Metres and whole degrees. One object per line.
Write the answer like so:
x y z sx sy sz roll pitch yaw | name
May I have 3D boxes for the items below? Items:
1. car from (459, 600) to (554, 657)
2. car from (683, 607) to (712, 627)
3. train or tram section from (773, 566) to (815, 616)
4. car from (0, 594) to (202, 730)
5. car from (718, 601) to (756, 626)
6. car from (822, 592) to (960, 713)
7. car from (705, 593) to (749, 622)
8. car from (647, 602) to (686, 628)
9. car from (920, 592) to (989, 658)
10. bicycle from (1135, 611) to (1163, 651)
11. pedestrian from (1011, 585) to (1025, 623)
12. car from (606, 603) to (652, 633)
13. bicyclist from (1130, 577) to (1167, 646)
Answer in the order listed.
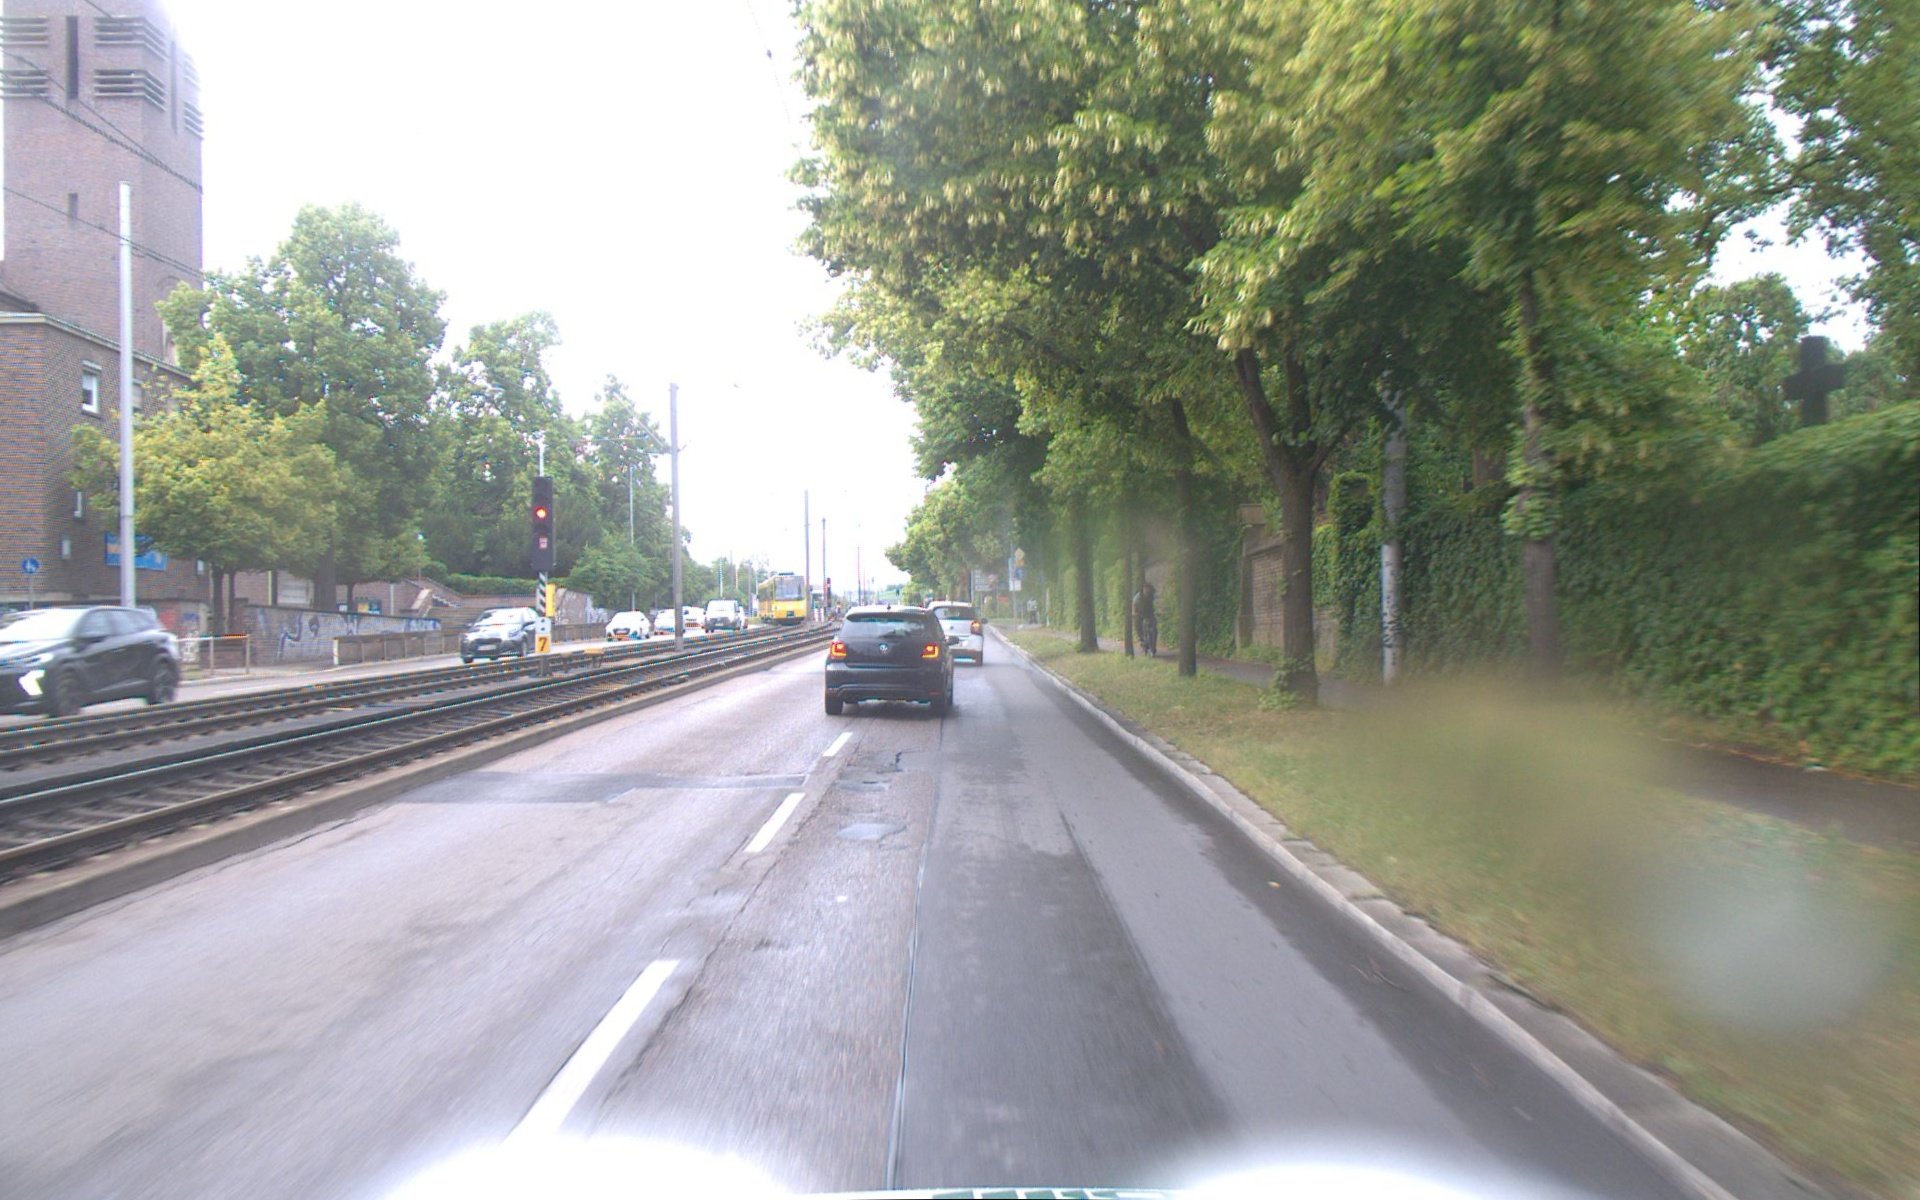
-12.787 0.770 46.821 1.646 1.487 3.608 -1 0 0 | car
-18.491 1.179 116.782 1.527 1.362 3.647 0 0 -1 | car
-12.488 -0.669 124.922 2.776 3.668 9.264 0 0 -3 | train or tram section
-12.470 0.790 22.970 1.796 1.685 4.240 -1 0 2 | car
-14.708 0.874 109.184 1.953 1.603 4.534 0 0 -1 | car
-0.946 0.662 23.244 1.758 1.511 3.963 0 1 -2 | car
-13.920 0.411 98.947 1.953 1.691 5.126 0 0 -1 | car
-17.804 0.901 100.579 1.693 1.469 3.999 0 0 -1 | car
-0.124 0.590 41.924 1.642 1.557 3.721 -1 0 0 | car
4.579 0.743 40.217 0.399 0.918 2.098 -1 0 -1 | bicycle
4.683 0.312 133.821 1.140 3.029 0.948 0 0 -1 | pedestrian
-17.020 0.893 85.147 1.584 1.459 3.999 0 0 -1 | car
4.580 0.280 40.220 0.747 1.644 0.998 -1 0 -1 | bicyclist
